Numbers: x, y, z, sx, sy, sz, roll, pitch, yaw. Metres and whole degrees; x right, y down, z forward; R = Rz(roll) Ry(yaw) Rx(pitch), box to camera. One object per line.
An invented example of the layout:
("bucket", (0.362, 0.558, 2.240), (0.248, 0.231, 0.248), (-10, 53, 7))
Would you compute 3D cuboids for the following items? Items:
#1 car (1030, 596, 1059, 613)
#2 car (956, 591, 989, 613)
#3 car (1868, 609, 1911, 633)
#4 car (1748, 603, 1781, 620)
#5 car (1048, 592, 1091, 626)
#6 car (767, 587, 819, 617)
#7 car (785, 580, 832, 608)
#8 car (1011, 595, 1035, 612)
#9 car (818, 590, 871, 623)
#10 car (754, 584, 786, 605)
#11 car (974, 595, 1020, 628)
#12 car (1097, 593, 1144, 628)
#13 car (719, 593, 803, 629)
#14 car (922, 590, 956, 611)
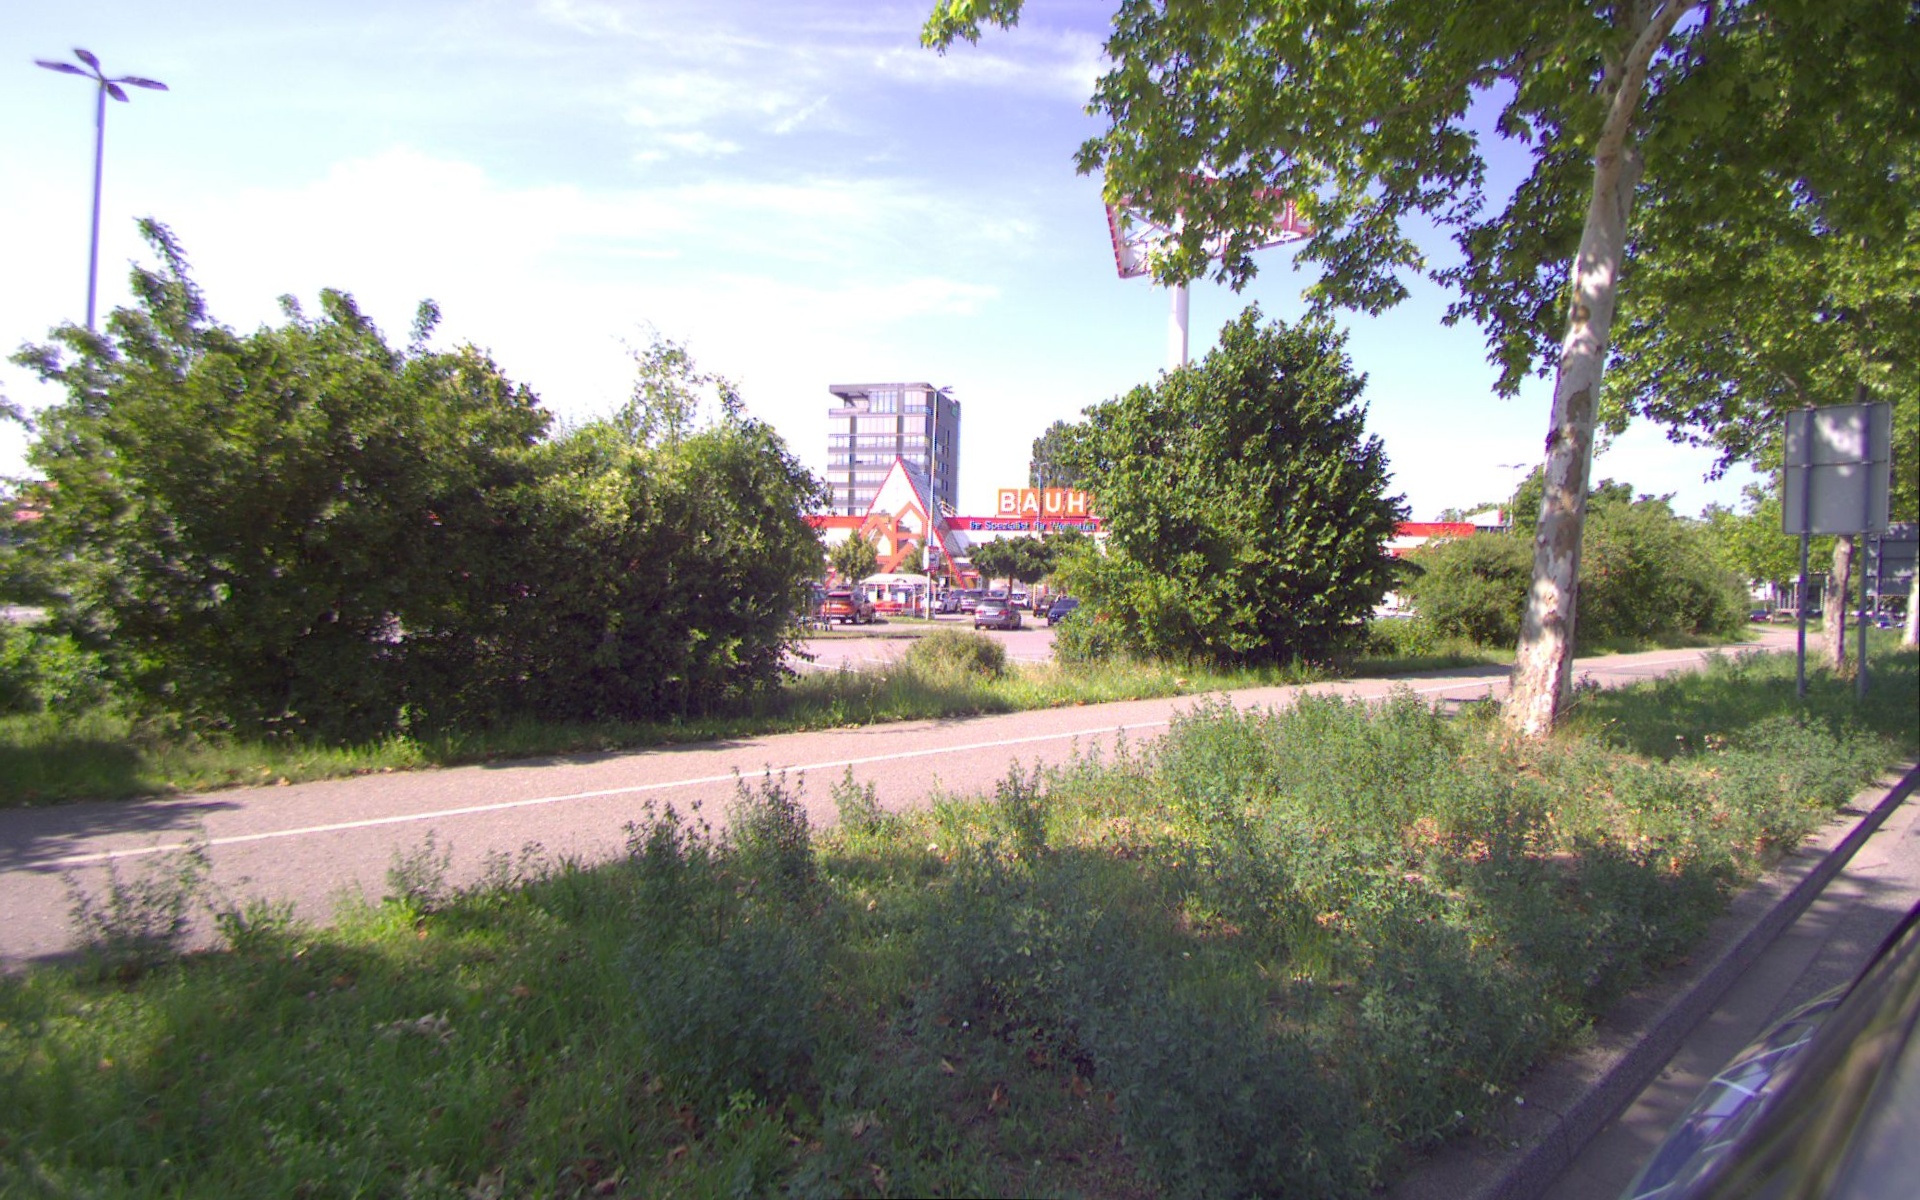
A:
("car", (5.531, 0.261, 65.901), (1.495, 1.073, 3.175), (-1, 0, 12))
("car", (0.884, 0.112, 67.302), (1.545, 1.397, 3.606), (0, 0, 12))
("car", (67.209, 1.515, 73.216), (1.711, 1.604, 3.708), (1, 0, 34))
("car", (83.309, 1.176, 104.828), (1.630, 1.622, 3.577), (0, 0, 22))
("car", (5.876, 0.458, 54.103), (1.606, 1.648, 4.737), (3, 0, 14))
("car", (-9.431, 0.120, 57.497), (1.745, 1.625, 3.732), (0, 0, 11))
("car", (-10.473, -0.415, 70.372), (1.973, 1.834, 4.043), (0, 0, 11))
("car", (5.258, 0.299, 84.358), (1.545, 1.397, 3.606), (0, 0, 12))
("car", (-5.707, 0.321, 50.415), (1.654, 1.565, 3.778), (0, 0, 10))
("car", (-14.021, -0.395, 74.931), (1.473, 1.527, 3.495), (1, 0, 5))
("car", (1.836, 0.520, 48.985), (1.752, 1.505, 3.778), (0, 0, 10))
("car", (7.647, 0.455, 47.962), (1.970, 1.527, 3.985), (1, 1, 13))
("car", (-7.784, 0.470, 39.950), (1.759, 1.289, 3.806), (0, -2, 15))
("car", (-1.375, 0.022, 67.503), (1.545, 1.397, 3.606), (0, 0, 12))
